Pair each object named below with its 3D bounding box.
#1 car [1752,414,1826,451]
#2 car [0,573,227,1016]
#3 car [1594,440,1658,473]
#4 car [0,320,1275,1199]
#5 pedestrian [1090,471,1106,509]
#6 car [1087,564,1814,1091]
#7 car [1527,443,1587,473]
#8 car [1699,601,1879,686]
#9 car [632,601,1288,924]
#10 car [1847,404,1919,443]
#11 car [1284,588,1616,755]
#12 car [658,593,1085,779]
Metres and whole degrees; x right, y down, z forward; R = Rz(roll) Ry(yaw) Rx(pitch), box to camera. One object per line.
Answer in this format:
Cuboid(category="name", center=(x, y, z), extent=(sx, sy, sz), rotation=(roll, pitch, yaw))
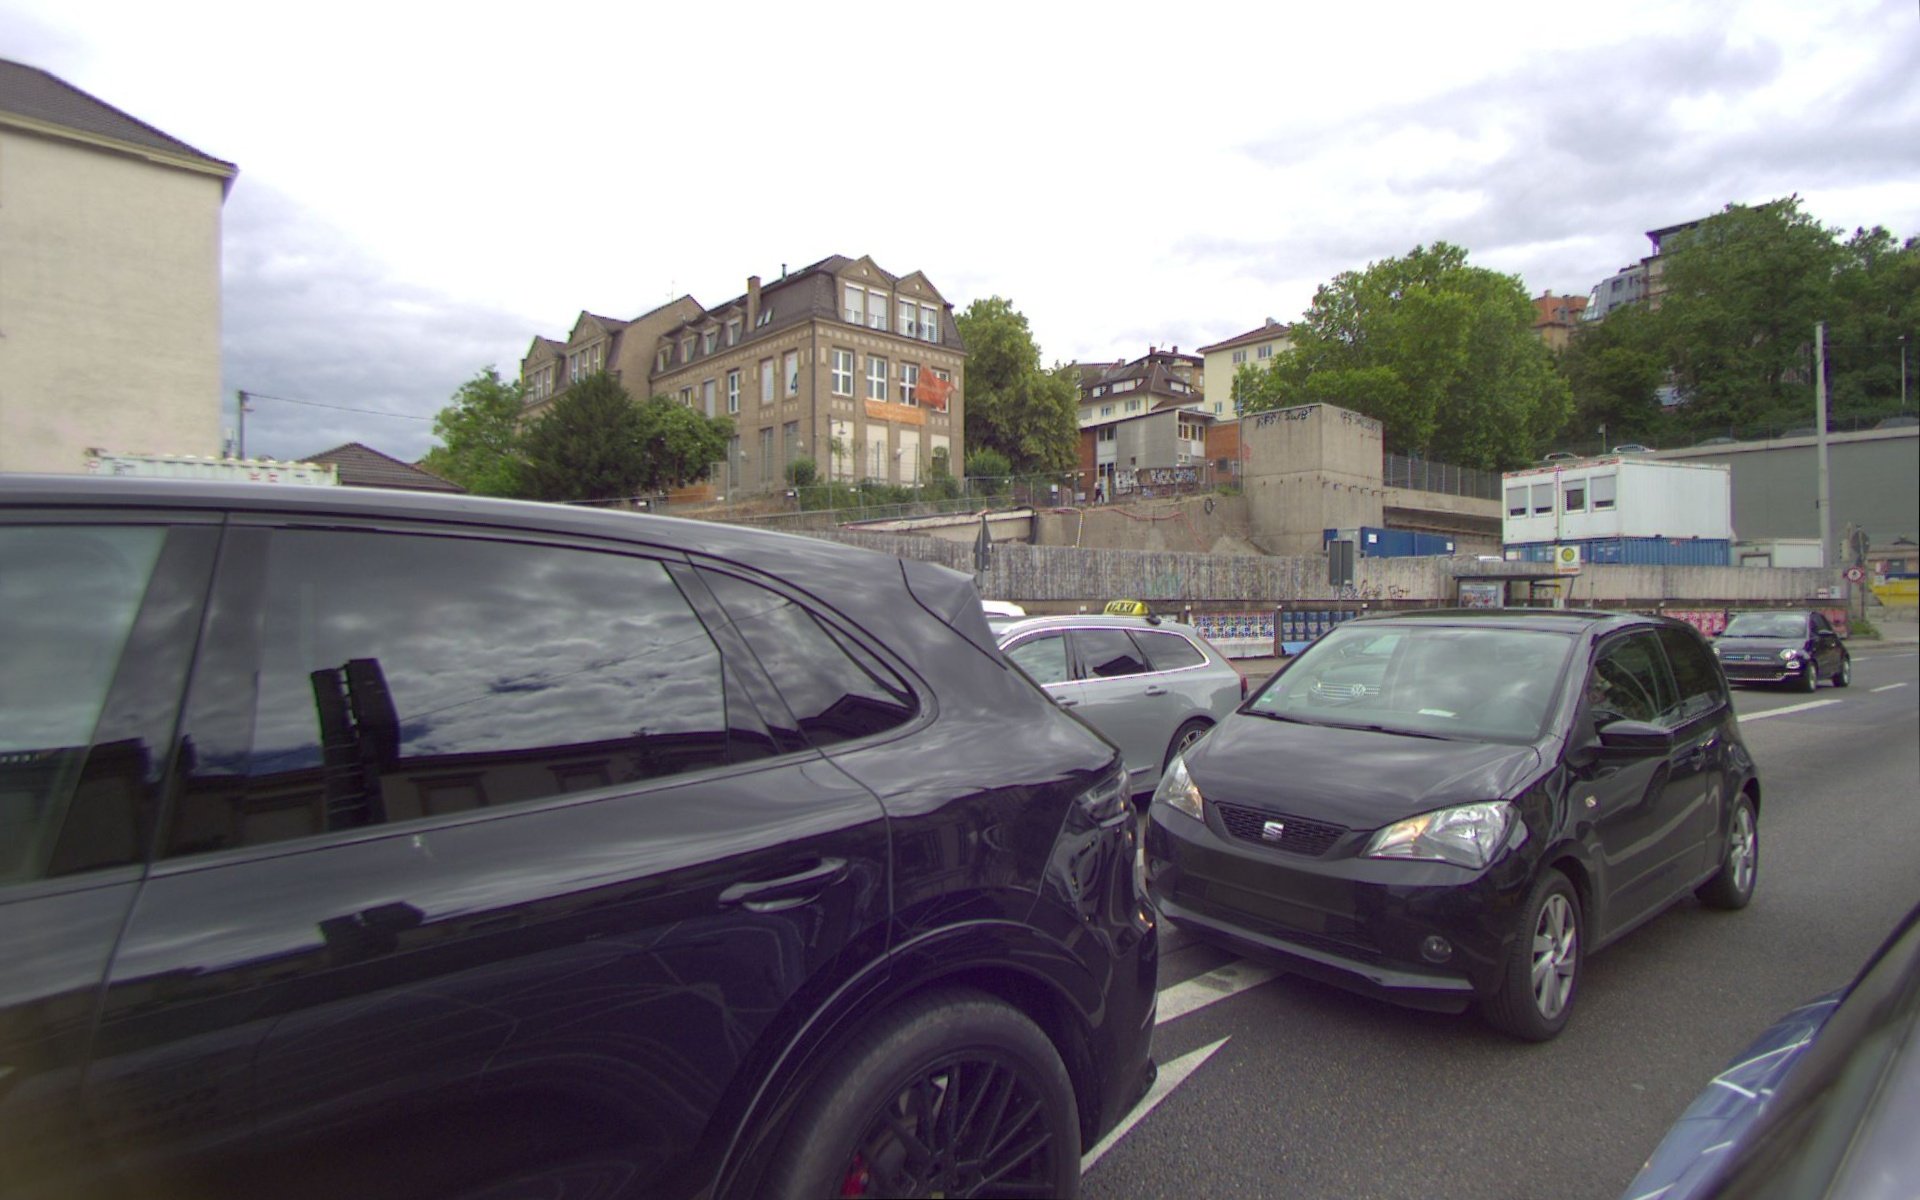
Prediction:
Cuboid(category="car", center=(60.613, -12.223, 74.018), extent=(1.966, 2.039, 3.991), rotation=(0, 1, -43))
Cuboid(category="car", center=(-4.887, 0.692, 3.423), extent=(3.812, 1.563, 1.667), rotation=(0, -1, -40))
Cuboid(category="car", center=(53.563, -11.510, 81.441), extent=(3.988, 2.039, 1.968), rotation=(0, 1, 45))
Cuboid(category="car", center=(-1.626, 0.584, 1.704), extent=(4.552, 1.707, 1.959), rotation=(0, -1, -40))
Cuboid(category="pedestrian", center=(7.672, -6.088, 56.185), extent=(0.656, 2.039, 0.644), rotation=(0, 0, -45))
Cuboid(category="car", center=(2.524, 0.659, 4.790), extent=(3.812, 1.515, 1.667), rotation=(0, -1, -40))
Cuboid(category="car", center=(50.248, -11.918, 85.230), extent=(3.988, 2.039, 1.968), rotation=(0, 1, 45))
Cuboid(category="car", center=(15.844, 0.751, 19.292), extent=(3.925, 1.462, 1.731), rotation=(0, -1, -36))
Cuboid(category="car", center=(0.228, 0.822, 7.243), extent=(4.570, 1.591, 1.826), rotation=(0, 0, -39))
Cuboid(category="car", center=(64.152, -12.193, 70.050), extent=(1.966, 2.039, 3.991), rotation=(0, 1, -43))
Cuboid(category="car", center=(5.764, 0.668, 11.664), extent=(4.469, 1.579, 1.704), rotation=(0, 0, -39))
Cuboid(category="car", center=(-0.750, 0.723, 10.792), extent=(4.475, 1.579, 1.702), rotation=(0, 0, -44))
